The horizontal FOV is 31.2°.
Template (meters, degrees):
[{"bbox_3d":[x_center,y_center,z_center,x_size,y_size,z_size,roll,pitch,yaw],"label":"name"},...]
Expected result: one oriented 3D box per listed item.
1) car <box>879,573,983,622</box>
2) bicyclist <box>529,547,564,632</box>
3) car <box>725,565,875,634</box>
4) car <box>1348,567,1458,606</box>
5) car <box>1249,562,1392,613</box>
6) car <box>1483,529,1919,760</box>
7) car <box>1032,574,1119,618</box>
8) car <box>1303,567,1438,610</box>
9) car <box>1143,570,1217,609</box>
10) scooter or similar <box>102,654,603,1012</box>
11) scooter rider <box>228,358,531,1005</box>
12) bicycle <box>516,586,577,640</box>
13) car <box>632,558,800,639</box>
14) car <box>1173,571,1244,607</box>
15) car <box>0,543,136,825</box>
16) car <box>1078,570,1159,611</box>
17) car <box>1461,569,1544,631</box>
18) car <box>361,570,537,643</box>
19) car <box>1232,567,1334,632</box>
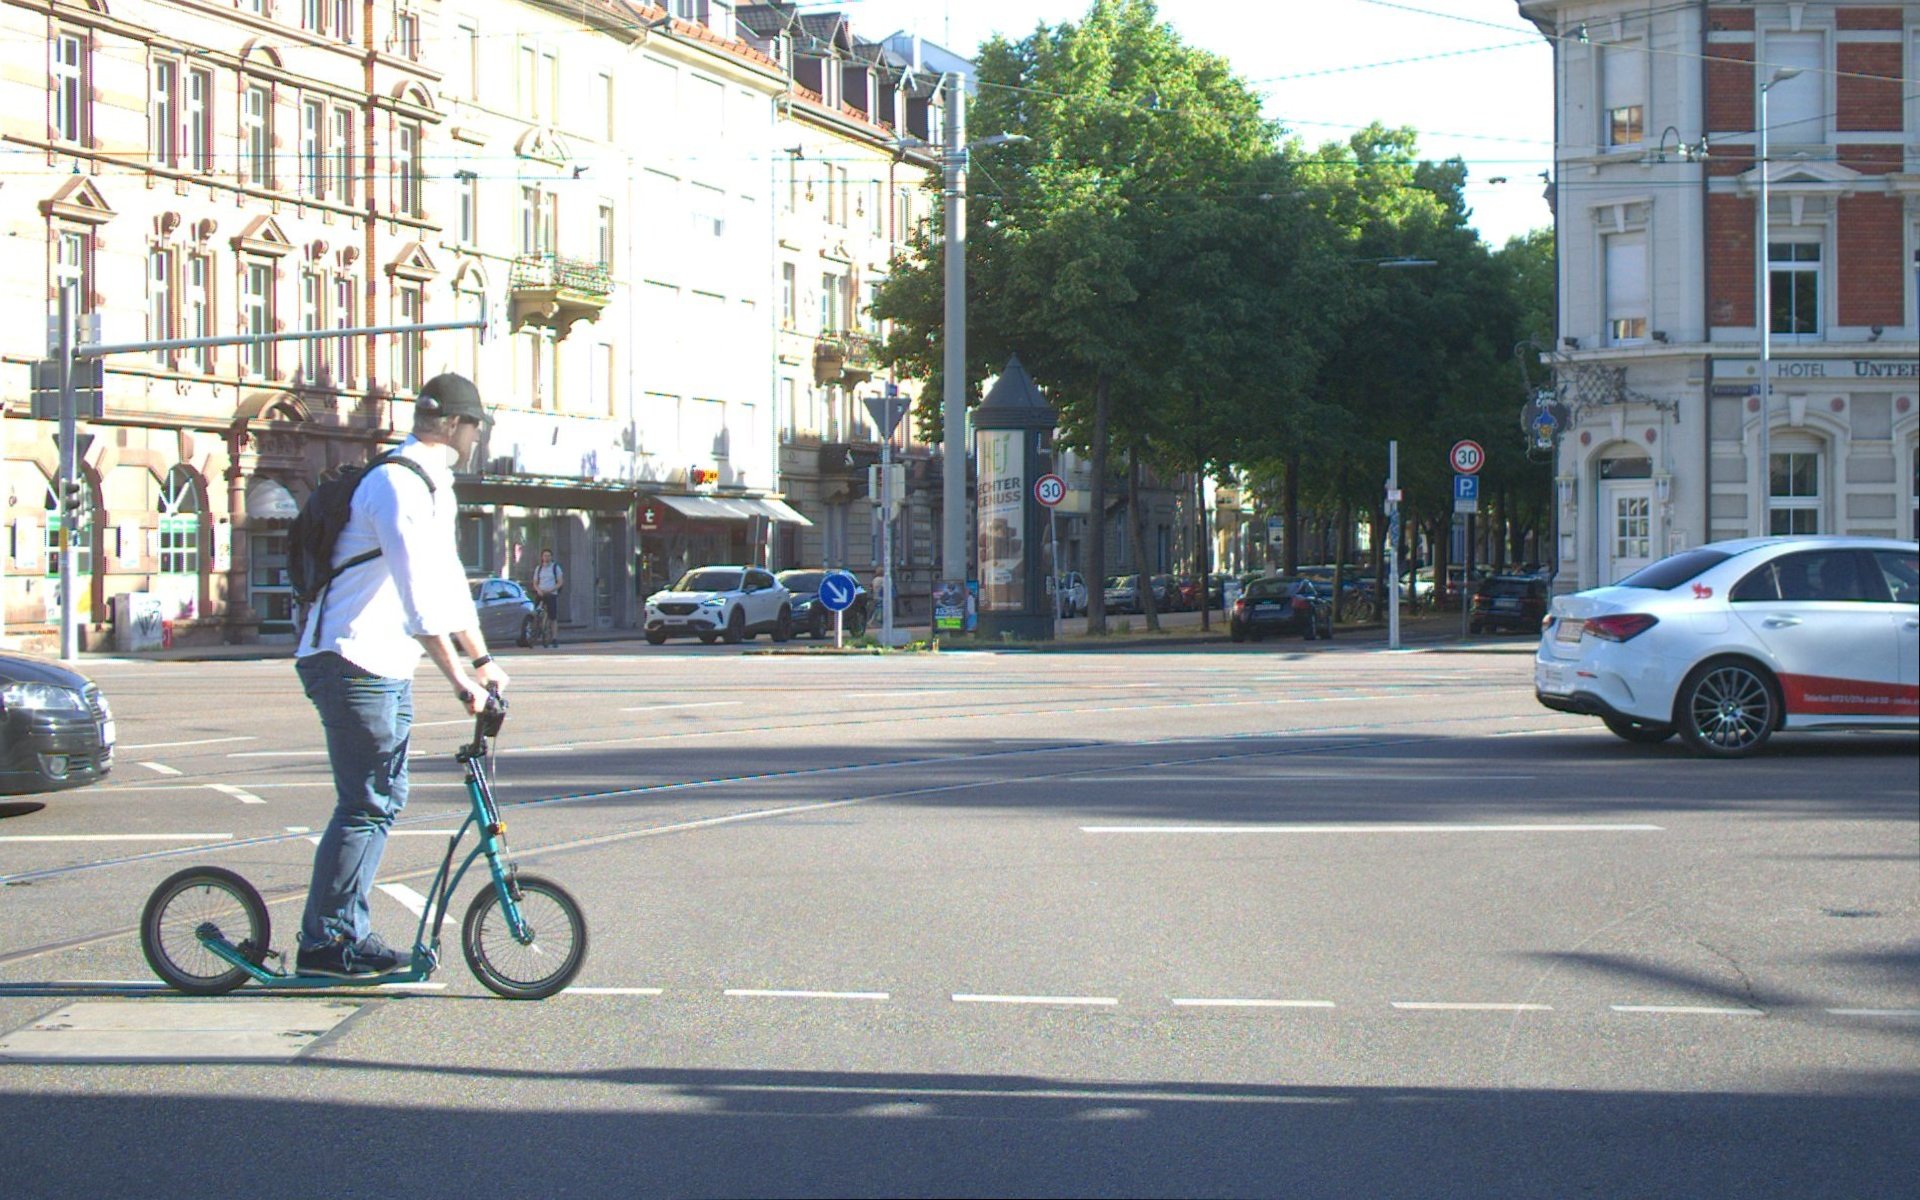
[{"bbox_3d":[-0.839,-0.091,102.079,1.995,1.400,4.166,0,1,16],"label":"car"},{"bbox_3d":[-7.837,-0.202,65.183,0.489,1.596,0.666,0,1,10],"label":"bicyclist"},{"bbox_3d":[-3.396,-0.040,73.633,1.995,1.400,4.166,0,1,16],"label":"car"},{"bbox_3d":[14.368,-0.429,111.454,3.435,1.235,1.576,0,1,11],"label":"car"},{"bbox_3d":[10.452,-0.362,99.672,3.989,1.450,1.681,0,1,11],"label":"car"},{"bbox_3d":[6.030,0.265,23.112,4.669,1.468,1.742,0,1,-7],"label":"car"},{"bbox_3d":[3.945,-0.149,116.849,1.995,1.400,4.166,0,1,16],"label":"car"},{"bbox_3d":[12.582,-0.348,105.381,3.989,1.284,1.694,0,1,11],"label":"car"},{"bbox_3d":[8.411,-0.416,131.395,1.995,1.400,4.166,0,1,16],"label":"car"},{"bbox_3d":[-1.831,0.697,10.492,1.431,1.040,0.565,0,1,-1],"label":"scooter or similar"},{"bbox_3d":[-1.757,0.234,10.517,0.795,1.905,0.797,0,1,-1],"label":"scooter rider"},{"bbox_3d":[-7.845,0.232,65.290,0.655,0.997,1.664,1,1,12],"label":"bicycle"},{"bbox_3d":[-4.749,-0.053,67.459,1.995,1.511,4.166,0,1,16],"label":"car"},{"bbox_3d":[9.889,-0.447,136.592,1.995,1.400,4.166,0,1,16],"label":"car"},{"bbox_3d":[-6.480,0.404,17.545,4.270,1.376,1.646,0,1,-7],"label":"car"},{"bbox_3d":[5.658,-0.338,122.567,1.995,1.400,4.166,0,1,16],"label":"car"},{"bbox_3d":[13.051,-0.026,82.516,1.756,1.415,3.998,0,1,12],"label":"car"},{"bbox_3d":[-9.925,0.102,67.033,1.995,1.357,3.816,0,1,16],"label":"car"},{"bbox_3d":[6.854,-0.024,72.588,1.718,1.296,4.071,0,1,12],"label":"car"}]
